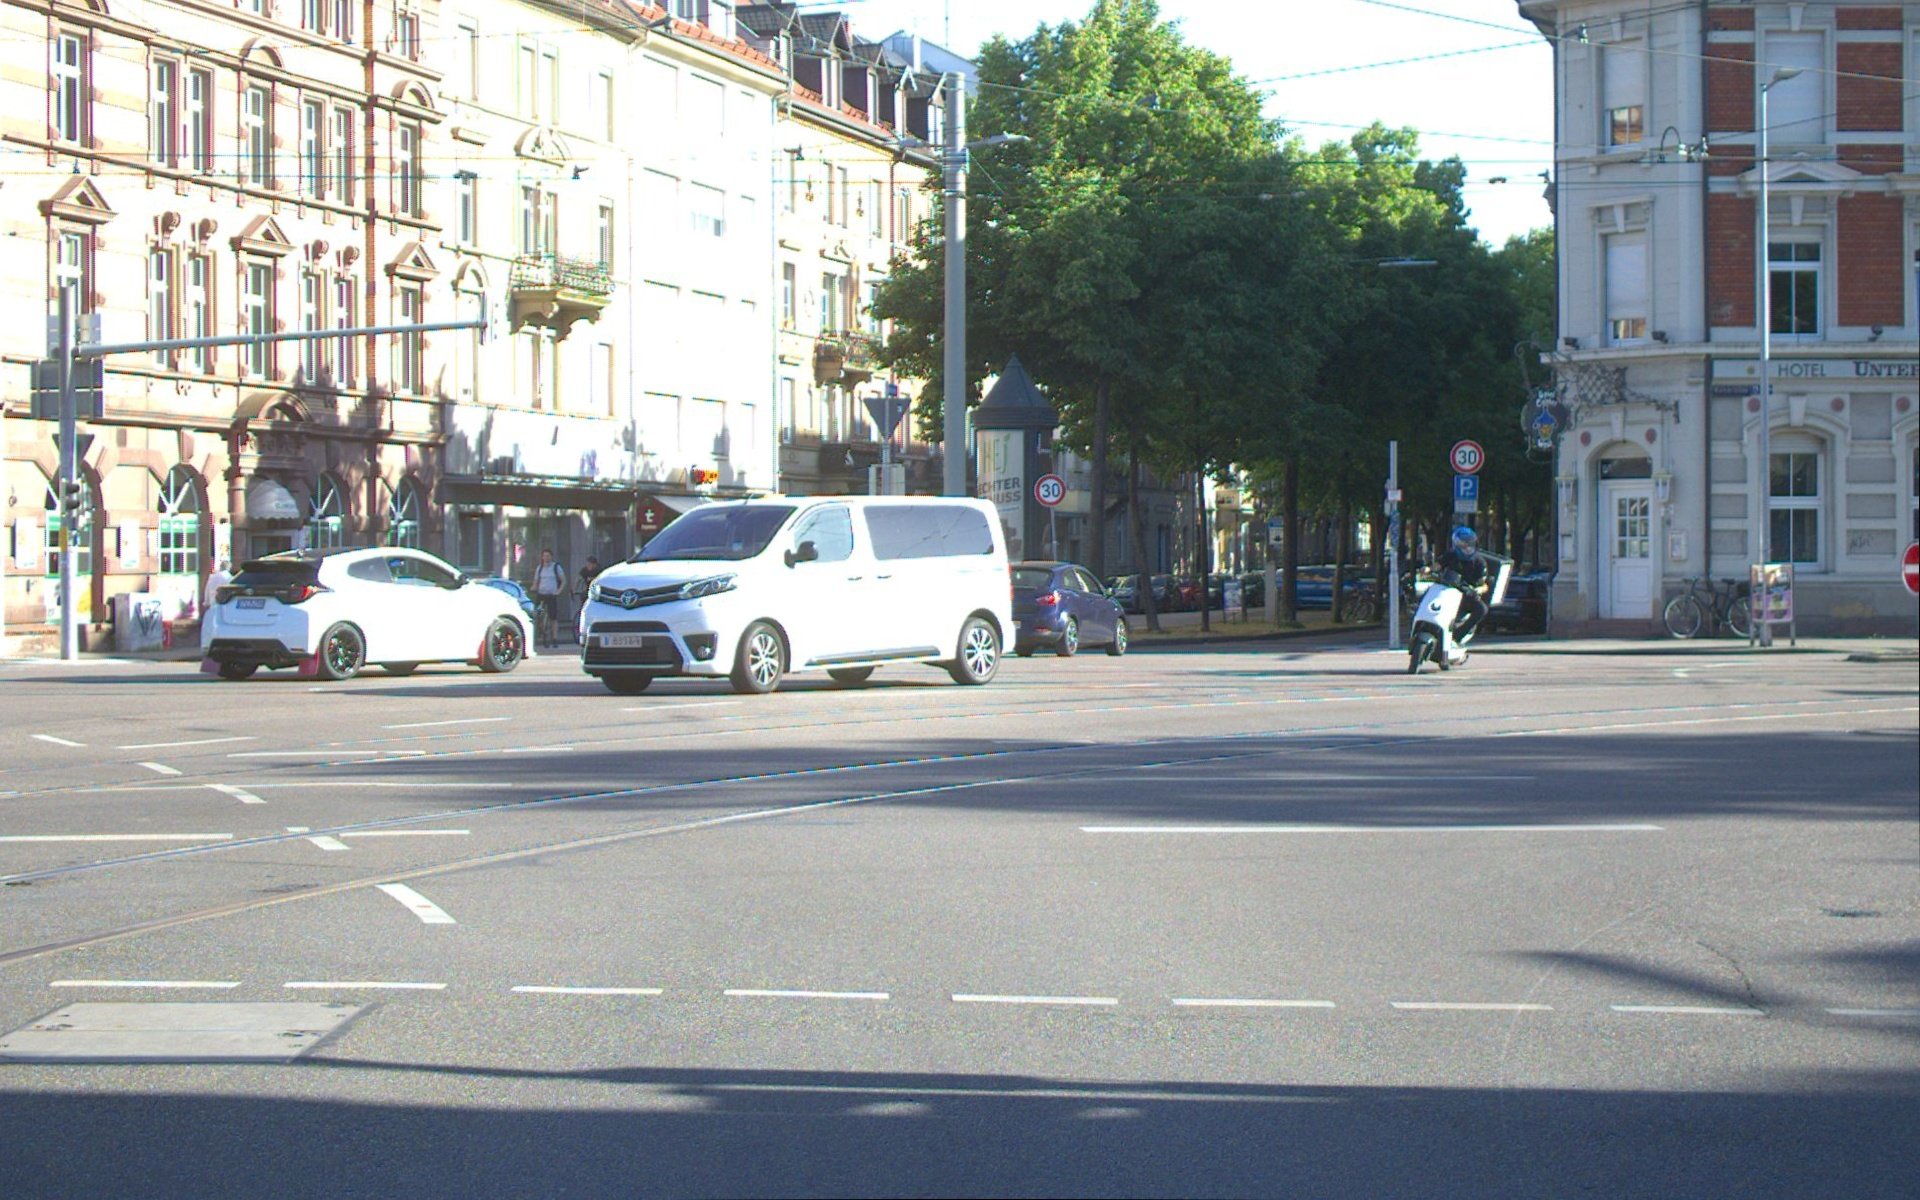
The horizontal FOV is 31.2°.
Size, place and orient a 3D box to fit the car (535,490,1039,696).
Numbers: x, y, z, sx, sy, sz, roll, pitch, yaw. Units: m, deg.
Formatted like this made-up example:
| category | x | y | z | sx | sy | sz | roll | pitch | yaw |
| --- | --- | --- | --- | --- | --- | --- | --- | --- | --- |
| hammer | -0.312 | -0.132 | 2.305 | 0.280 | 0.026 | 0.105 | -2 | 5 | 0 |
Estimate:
| category | x | y | z | sx | sy | sz | roll | pitch | yaw |
| --- | --- | --- | --- | --- | --- | --- | --- | --- | --- |
| car | -1.584 | -0.143 | 33.538 | 1.998 | 1.847 | 5.205 | 1 | 2 | 38 |

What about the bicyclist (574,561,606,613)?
| category | x | y | z | sx | sy | sz | roll | pitch | yaw |
| --- | --- | --- | --- | --- | --- | --- | --- | --- | --- |
| bicyclist | -7.473 | -0.272 | 69.474 | 0.473 | 1.036 | 0.537 | 1 | 0 | 15 |

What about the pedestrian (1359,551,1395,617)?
| category | x | y | z | sx | sy | sz | roll | pitch | yaw |
| --- | --- | --- | --- | --- | --- | --- | --- | --- | --- |
| pedestrian | 12.692 | -0.486 | 104.618 | 0.943 | 2.007 | 0.826 | 1 | 0 | -3 |

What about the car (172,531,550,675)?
| category | x | y | z | sx | sy | sz | roll | pitch | yaw |
| --- | --- | --- | --- | --- | --- | --- | --- | --- | --- |
| car | -6.615 | -0.004 | 38.341 | 1.896 | 1.449 | 4.001 | 0 | 2 | 34 |

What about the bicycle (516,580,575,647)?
| category | x | y | z | sx | sy | sz | roll | pitch | yaw |
| --- | --- | --- | --- | --- | --- | --- | --- | --- | --- |
| bicycle | -7.844 | 0.244 | 65.134 | 0.565 | 1.250 | 1.556 | 1 | 1 | 14 |

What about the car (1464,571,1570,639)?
| category | x | y | z | sx | sy | sz | roll | pitch | yaw |
| --- | --- | --- | --- | --- | --- | --- | --- | --- | --- |
| car | 13.385 | 0.101 | 82.494 | 1.758 | 1.550 | 3.996 | 1 | 1 | 20 |

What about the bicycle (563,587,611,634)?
| category | x | y | z | sx | sy | sz | roll | pitch | yaw |
| --- | --- | --- | --- | --- | --- | --- | --- | --- | --- |
| bicycle | -7.519 | 0.206 | 69.314 | 0.473 | 0.919 | 1.451 | 1 | 1 | 14 |

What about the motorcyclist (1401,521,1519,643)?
| category | x | y | z | sx | sy | sz | roll | pitch | yaw |
| --- | --- | --- | --- | --- | --- | --- | --- | --- | --- |
| motorcyclist | 5.405 | -0.201 | 37.164 | 1.015 | 1.296 | 0.789 | 0 | 1 | -44 |

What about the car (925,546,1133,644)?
| category | x | y | z | sx | sy | sz | roll | pitch | yaw |
| --- | --- | --- | --- | --- | --- | --- | --- | --- | --- |
| car | 1.077 | -0.102 | 51.436 | 1.827 | 1.398 | 3.996 | 0 | 1 | 22 |

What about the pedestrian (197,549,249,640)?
| category | x | y | z | sx | sy | sz | roll | pitch | yaw |
| --- | --- | --- | --- | --- | --- | --- | --- | --- | --- |
| pedestrian | -13.479 | -0.104 | 62.864 | 0.568 | 1.636 | 0.792 | 1 | 0 | 23 |

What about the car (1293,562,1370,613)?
| category | x | y | z | sx | sy | sz | roll | pitch | yaw |
| --- | --- | --- | --- | --- | --- | --- | --- | --- | --- |
| car | 12.618 | -0.427 | 116.628 | 1.995 | 1.678 | 3.997 | 1 | 1 | 15 |

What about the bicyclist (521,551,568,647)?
| category | x | y | z | sx | sy | sz | roll | pitch | yaw |
| --- | --- | --- | --- | --- | --- | --- | --- | --- | --- |
| bicyclist | -7.858 | -0.024 | 65.098 | 0.565 | 1.797 | 0.913 | 1 | 0 | 15 |

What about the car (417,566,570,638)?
| category | x | y | z | sx | sy | sz | roll | pitch | yaw |
| --- | --- | --- | --- | --- | --- | --- | --- | --- | --- |
| car | -9.308 | 0.030 | 68.881 | 1.661 | 1.369 | 3.889 | 1 | 1 | 15 |

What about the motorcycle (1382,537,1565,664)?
| category | x | y | z | sx | sy | sz | roll | pitch | yaw |
| --- | --- | --- | --- | --- | --- | --- | --- | --- | --- |
| motorcycle | 5.556 | 0.003 | 37.123 | 2.136 | 1.329 | 0.796 | 0 | 1 | -44 |

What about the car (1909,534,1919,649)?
| category | x | y | z | sx | sy | sz | roll | pitch | yaw |
| --- | --- | --- | --- | --- | --- | --- | --- | --- | --- |
| car | 13.908 | -0.087 | 42.563 | 3.869 | 1.421 | 1.596 | 0 | 1 | 0 |

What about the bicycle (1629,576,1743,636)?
| category | x | y | z | sx | sy | sz | roll | pitch | yaw |
| --- | --- | --- | --- | --- | --- | --- | --- | --- | --- |
| bicycle | 12.066 | 0.100 | 57.137 | 1.804 | 0.959 | 0.603 | 1 | 0 | 14 |
